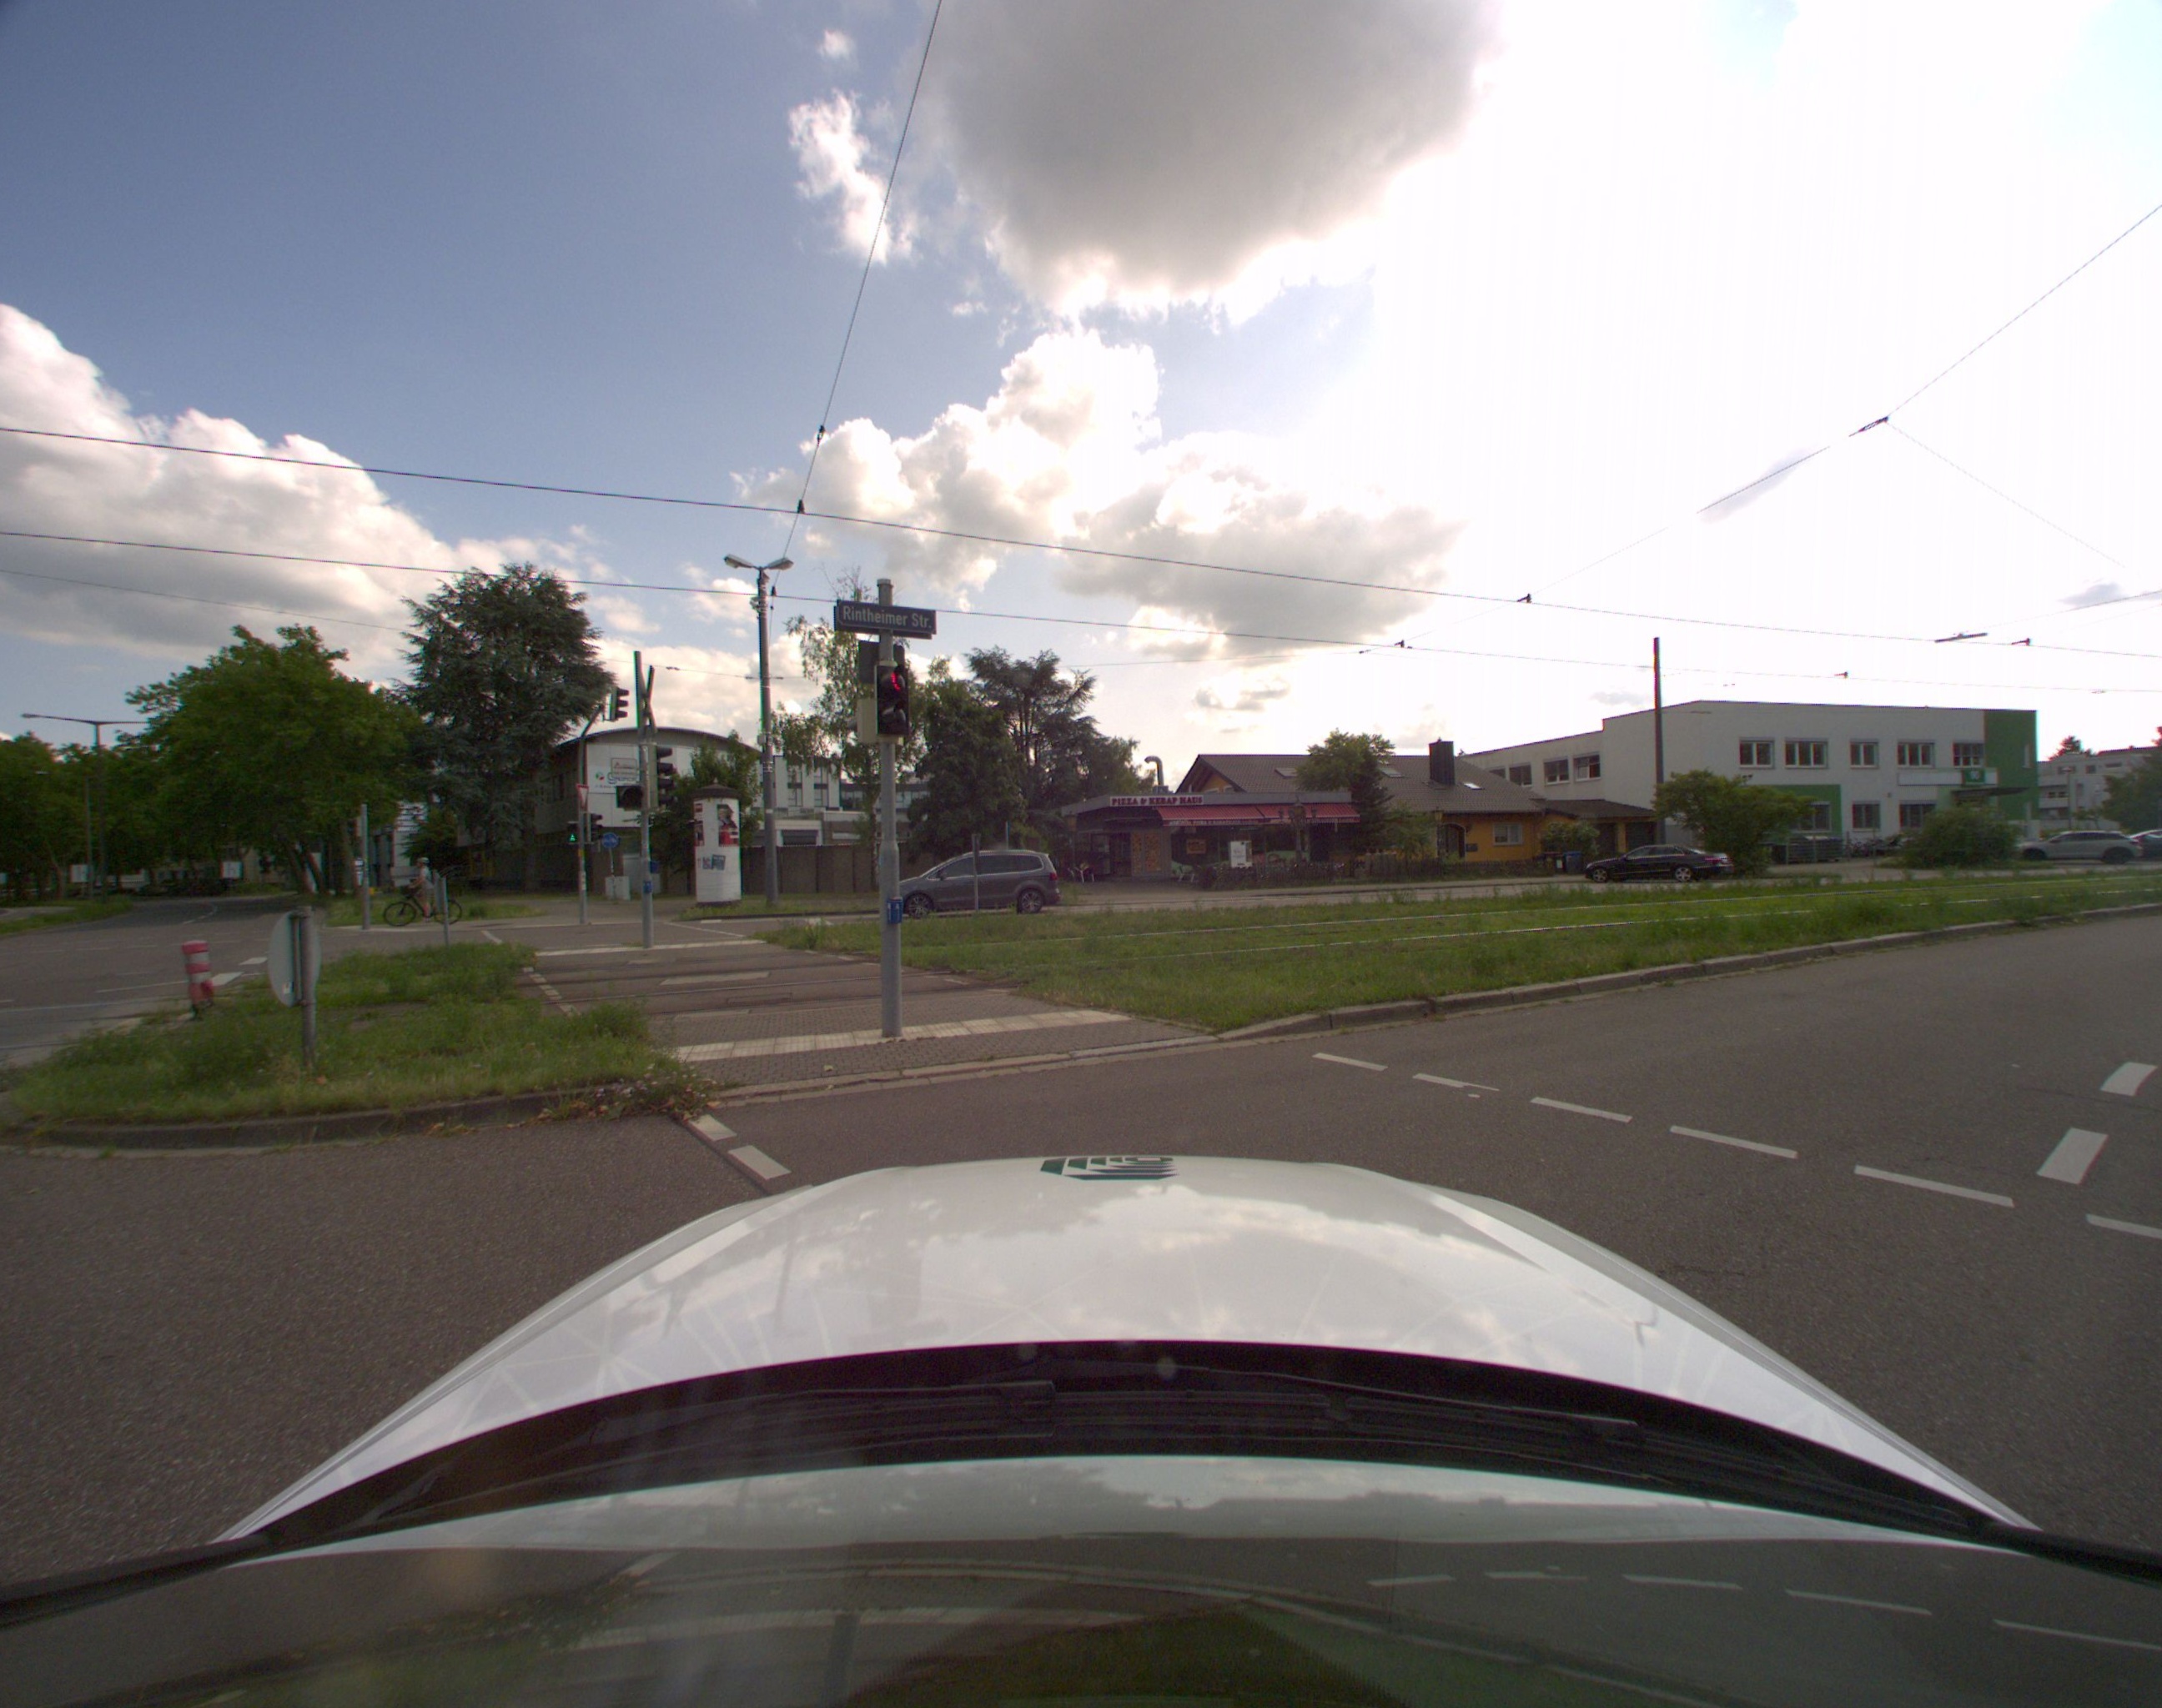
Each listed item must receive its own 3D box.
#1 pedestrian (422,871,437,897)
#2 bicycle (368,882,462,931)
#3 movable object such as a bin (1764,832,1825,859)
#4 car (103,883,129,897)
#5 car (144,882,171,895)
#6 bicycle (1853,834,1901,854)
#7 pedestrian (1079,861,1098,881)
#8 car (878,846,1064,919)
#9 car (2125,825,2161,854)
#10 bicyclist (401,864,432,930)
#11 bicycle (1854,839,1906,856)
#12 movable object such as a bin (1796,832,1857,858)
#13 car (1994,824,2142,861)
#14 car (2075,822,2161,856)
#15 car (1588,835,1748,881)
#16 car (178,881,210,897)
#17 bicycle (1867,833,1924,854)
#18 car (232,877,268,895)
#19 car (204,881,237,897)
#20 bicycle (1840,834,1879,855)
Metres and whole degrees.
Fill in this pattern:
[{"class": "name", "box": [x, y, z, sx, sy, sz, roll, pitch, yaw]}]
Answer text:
[{"class": "pedestrian", "box": [-39.823, 1.827, 49.762, 0.626, 1.569, 0.552, -2, 2, -42]}, {"class": "bicycle", "box": [-18.780, 1.463, 23.009, 1.958, 1.235, 0.536, -1, 2, -29]}, {"class": "movable object such as a bin", "box": [37.279, -0.431, 42.544, 2.111, 1.326, 1.371, -2, 0, -11]}, {"class": "car", "box": [-135.638, 5.041, 114.435, 3.948, 1.573, 2.013, 1, 2, 36]}, {"class": "car", "box": [-123.192, 4.589, 108.614, 3.948, 1.573, 2.013, 1, 2, 36]}, {"class": "bicycle", "box": [44.755, -0.570, 45.788, 0.736, 1.081, 1.787, -2, 0, -17]}, {"class": "pedestrian", "box": [0.345, 0.790, 38.104, 0.725, 0.929, 0.774, -1, 1, -10]}, {"class": "car", "box": [-3.009, 0.715, 22.027, 4.732, 1.722, 1.990, -2, 0, -14]}, {"class": "car", "box": [56.373, -0.770, 41.261, 1.871, 1.504, 4.120, -1, 0, -42]}, {"class": "bicyclist", "box": [-18.689, 1.194, 22.927, 0.546, 1.809, 0.536, -1, 1, -29]}, {"class": "bicycle", "box": [46.837, -0.384, 47.790, 0.729, 0.970, 2.151, -2, 0, -10]}, {"class": "movable object such as a bin", "box": [39.404, -0.467, 43.051, 2.125, 1.326, 1.371, -2, 0, -11]}, {"class": "car", "box": [47.429, -0.543, 39.293, 4.260, 1.629, 1.914, -2, 0, 42]}, {"class": "car", "box": [53.291, -0.745, 40.823, 1.913, 1.629, 4.263, -1, 0, -42]}, {"class": "car", "box": [22.494, 0.180, 31.388, 2.008, 1.580, 4.530, -2, -1, -34]}, {"class": "car", "box": [-101.961, 4.002, 93.595, 3.948, 1.573, 2.013, 1, 2, 36]}, {"class": "bicycle", "box": [47.765, -0.593, 47.804, 0.758, 1.166, 2.345, -2, 0, -9]}, {"class": "car", "box": [-84.862, 3.240, 83.158, 3.948, 1.573, 2.013, 1, 2, 36]}, {"class": "car", "box": [-94.652, 3.824, 89.546, 3.948, 1.573, 2.013, 1, 2, 36]}, {"class": "bicycle", "box": [45.337, -0.527, 47.458, 0.701, 1.166, 1.622, -2, 0, 2]}]
